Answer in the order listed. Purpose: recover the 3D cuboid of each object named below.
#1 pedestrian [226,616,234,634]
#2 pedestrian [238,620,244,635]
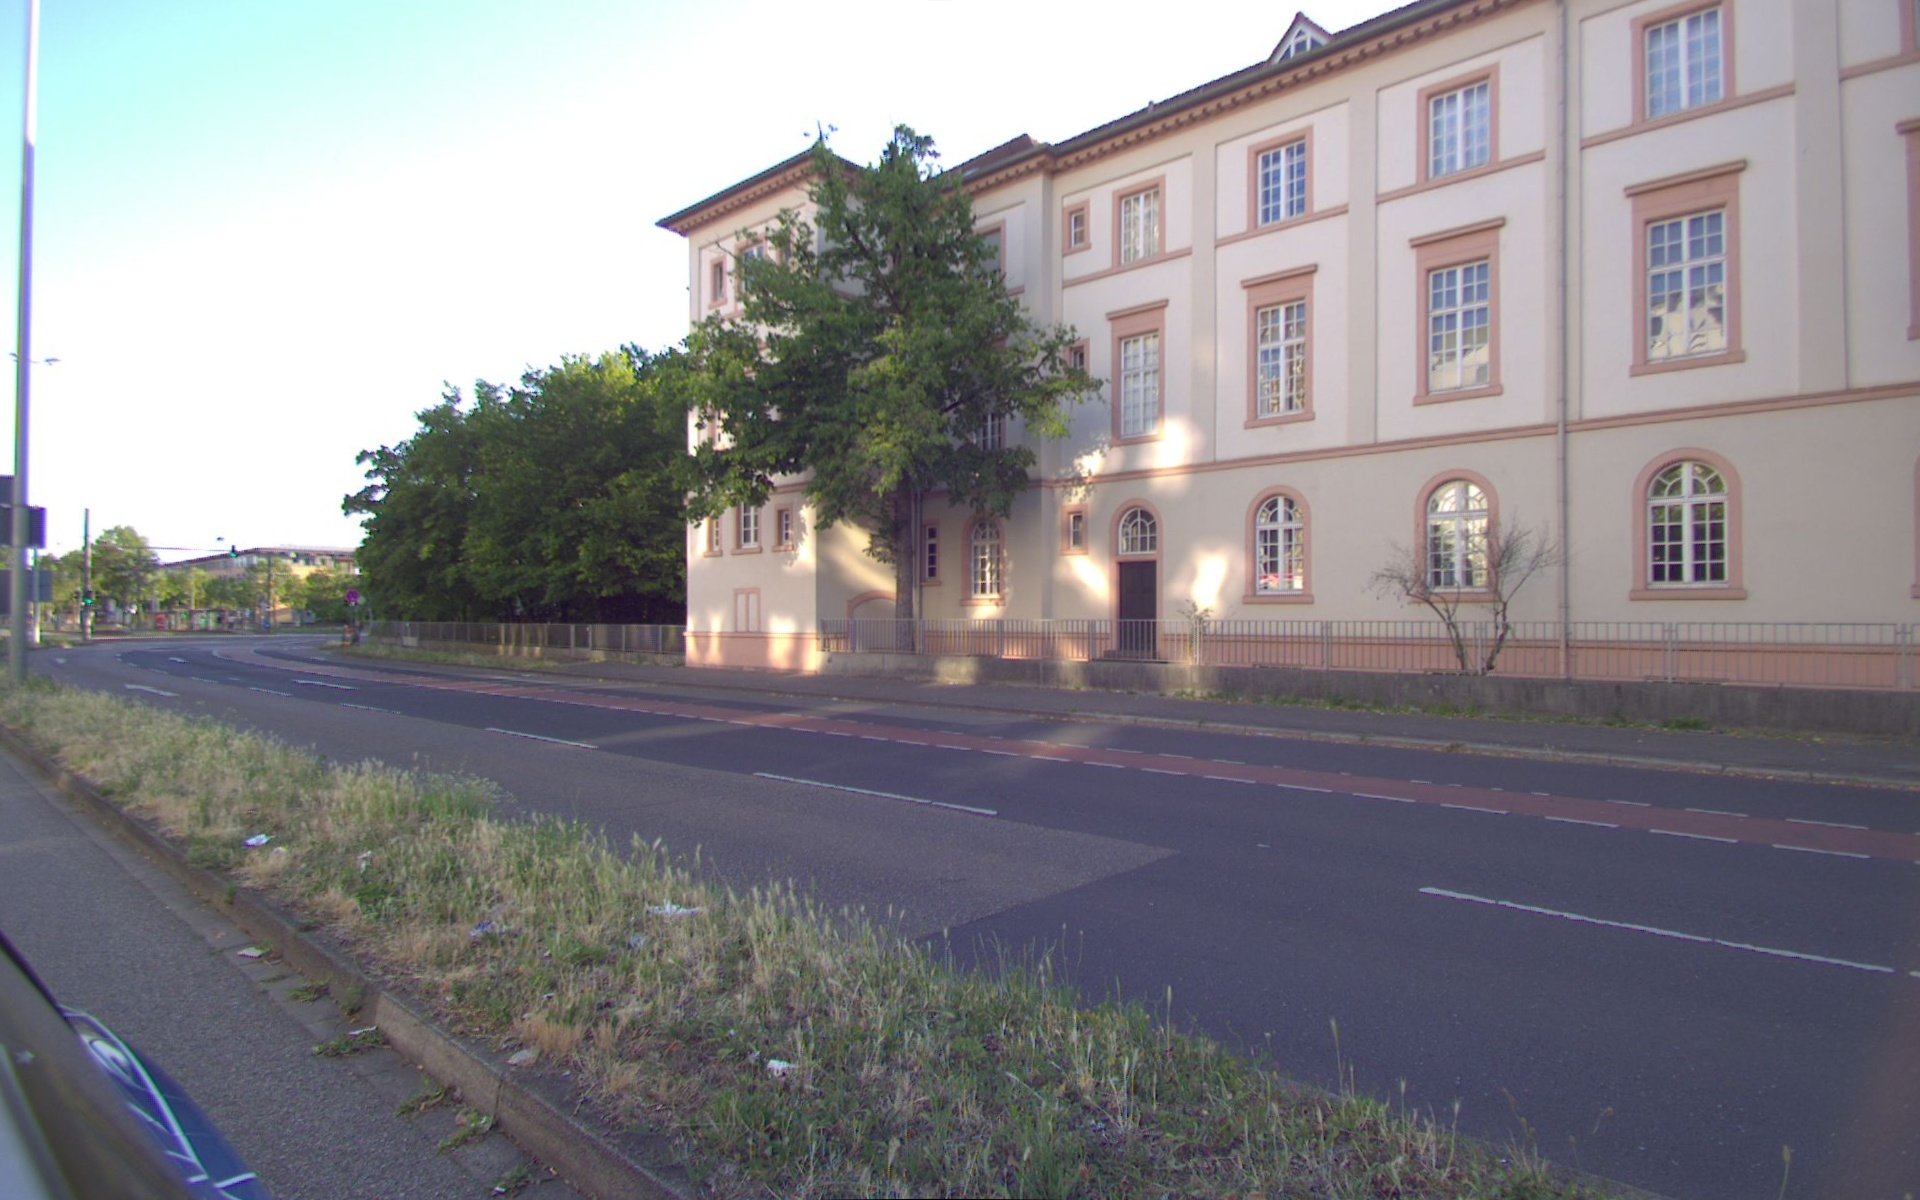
[{"bbox_3d":[-82.877,2.862,114.884,0.664,2.029,0.549,-1,-2,41],"label":"pedestrian"},{"bbox_3d":[-81.519,3.138,114.666,0.419,1.718,0.461,-1,-2,41],"label":"pedestrian"}]
